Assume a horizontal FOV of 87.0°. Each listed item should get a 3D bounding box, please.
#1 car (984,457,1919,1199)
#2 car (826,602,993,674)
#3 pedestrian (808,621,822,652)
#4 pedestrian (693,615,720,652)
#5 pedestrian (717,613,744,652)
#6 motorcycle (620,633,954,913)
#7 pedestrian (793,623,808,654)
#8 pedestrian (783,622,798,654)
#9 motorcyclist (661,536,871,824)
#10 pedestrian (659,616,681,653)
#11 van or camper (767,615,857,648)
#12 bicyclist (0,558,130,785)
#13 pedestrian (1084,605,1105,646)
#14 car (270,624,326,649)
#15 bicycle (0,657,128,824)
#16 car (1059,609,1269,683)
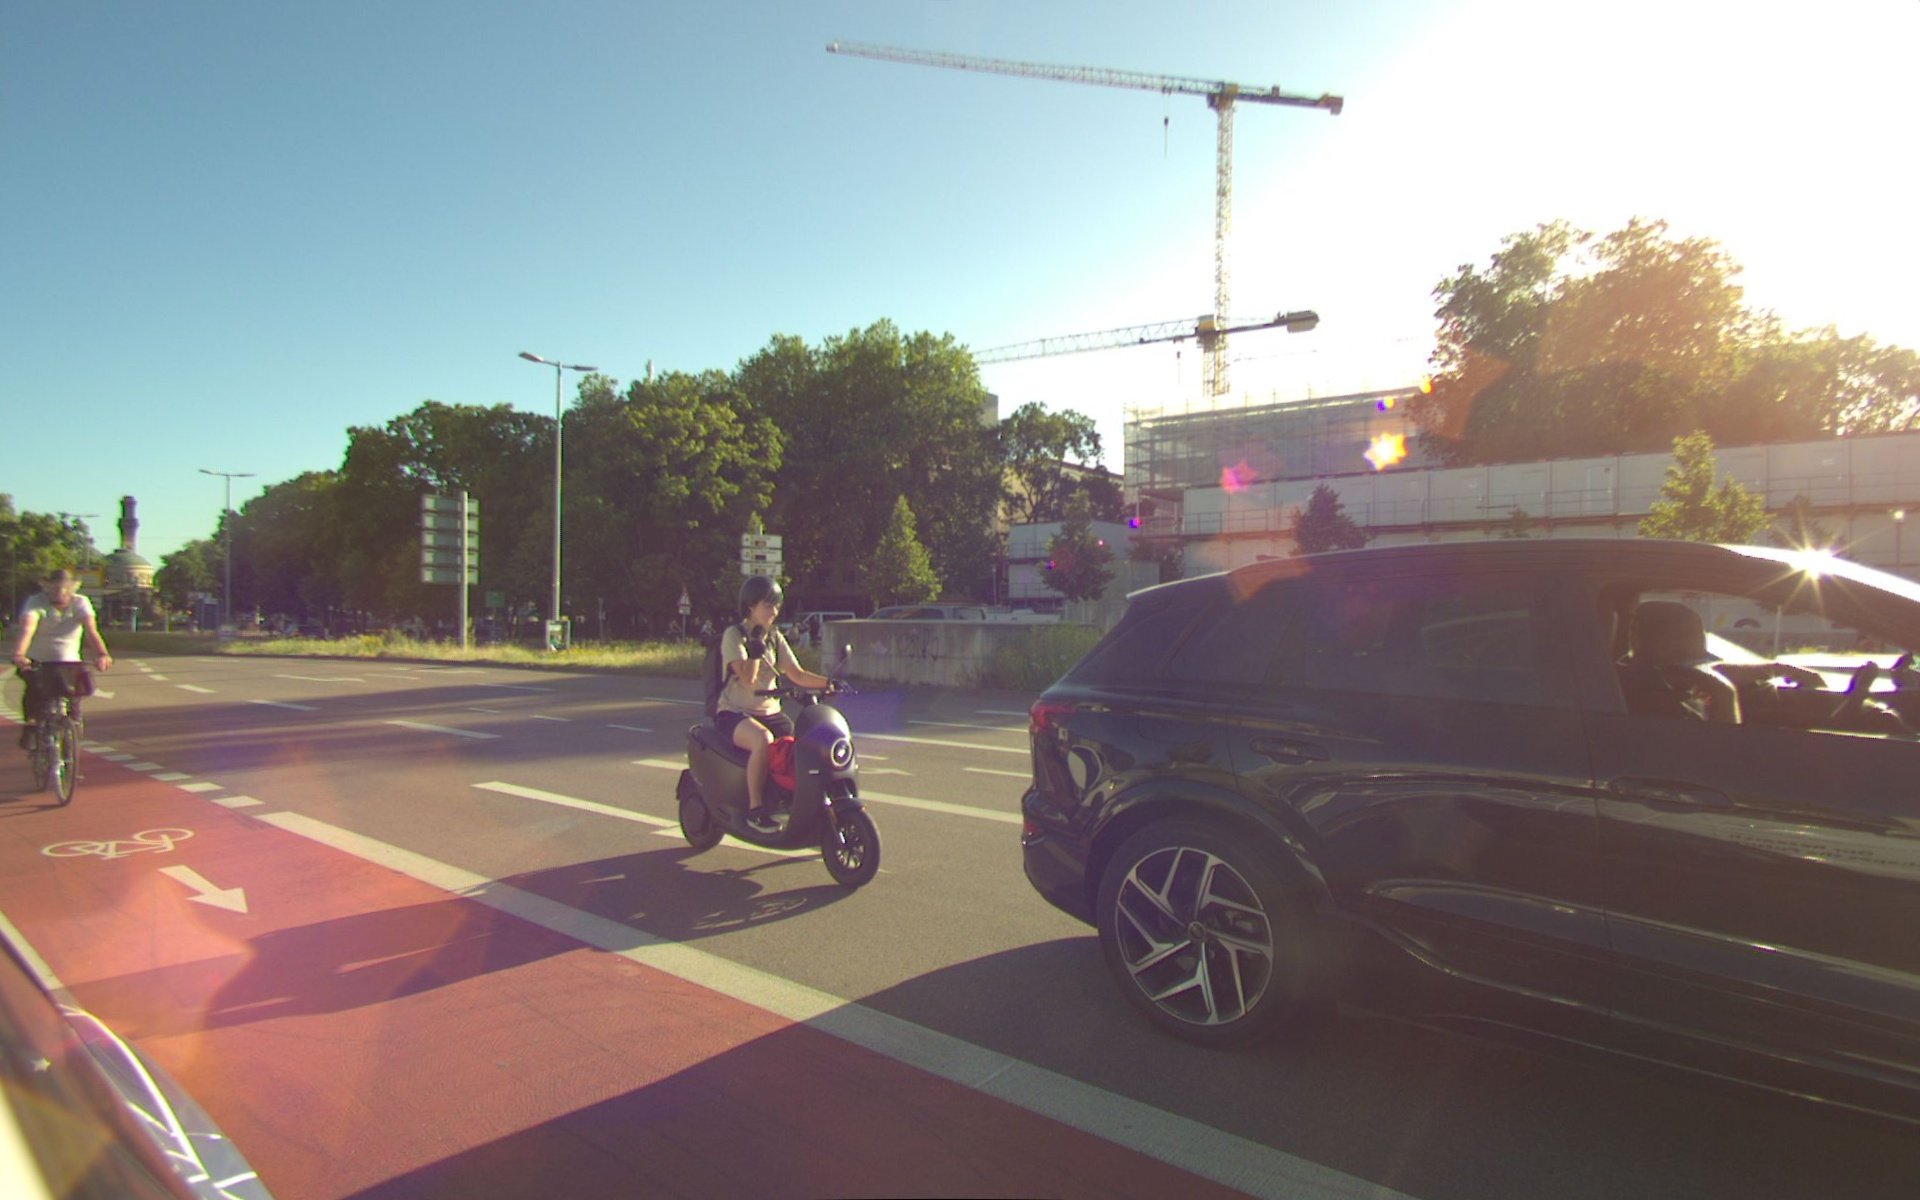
[{"bbox_3d":[2.571,0.550,3.189,4.660,1.720,2.144,-1,-1,39],"label":"car"},{"bbox_3d":[-1.550,1.091,29.694,4.925,1.937,1.863,-1,-2,39],"label":"car"},{"bbox_3d":[-7.157,1.784,49.832,0.494,1.522,0.492,-1,-2,41],"label":"pedestrian"},{"bbox_3d":[-13.611,1.795,54.390,1.054,1.978,0.942,-1,0,26],"label":"pedestrian"},{"bbox_3d":[-11.953,1.670,52.661,0.815,1.978,1.111,-1,0,41],"label":"pedestrian"},{"bbox_3d":[-1.024,0.840,5.700,1.943,1.290,0.817,-1,-2,41],"label":"motorcycle"},{"bbox_3d":[-7.745,1.871,49.183,0.494,1.522,0.492,-1,-2,41],"label":"pedestrian"},{"bbox_3d":[-8.060,1.795,48.225,0.494,1.522,0.492,-1,-2,41],"label":"pedestrian"},{"bbox_3d":[-1.104,0.420,5.781,0.877,1.475,0.813,-1,-2,41],"label":"motorcyclist"},{"bbox_3d":[-16.131,1.893,56.357,0.831,2.029,0.954,-1,0,9],"label":"pedestrian"},{"bbox_3d":[-8.970,1.924,61.893,1.951,1.960,5.425,-2,-2,44],"label":"van or camper"},{"bbox_3d":[-7.356,0.553,8.218,0.851,1.713,0.797,-1,-2,41],"label":"bicyclist"},{"bbox_3d":[5.349,0.997,40.176,0.597,1.614,0.580,-1,0,38],"label":"pedestrian"},{"bbox_3d":[-40.370,2.213,61.720,3.979,1.492,1.857,-1,-2,41],"label":"car"},{"bbox_3d":[-7.440,1.069,8.234,1.890,1.156,0.731,-1,-2,41],"label":"bicycle"},{"bbox_3d":[4.153,0.909,20.902,3.941,1.387,1.705,-1,-2,41],"label":"car"}]
